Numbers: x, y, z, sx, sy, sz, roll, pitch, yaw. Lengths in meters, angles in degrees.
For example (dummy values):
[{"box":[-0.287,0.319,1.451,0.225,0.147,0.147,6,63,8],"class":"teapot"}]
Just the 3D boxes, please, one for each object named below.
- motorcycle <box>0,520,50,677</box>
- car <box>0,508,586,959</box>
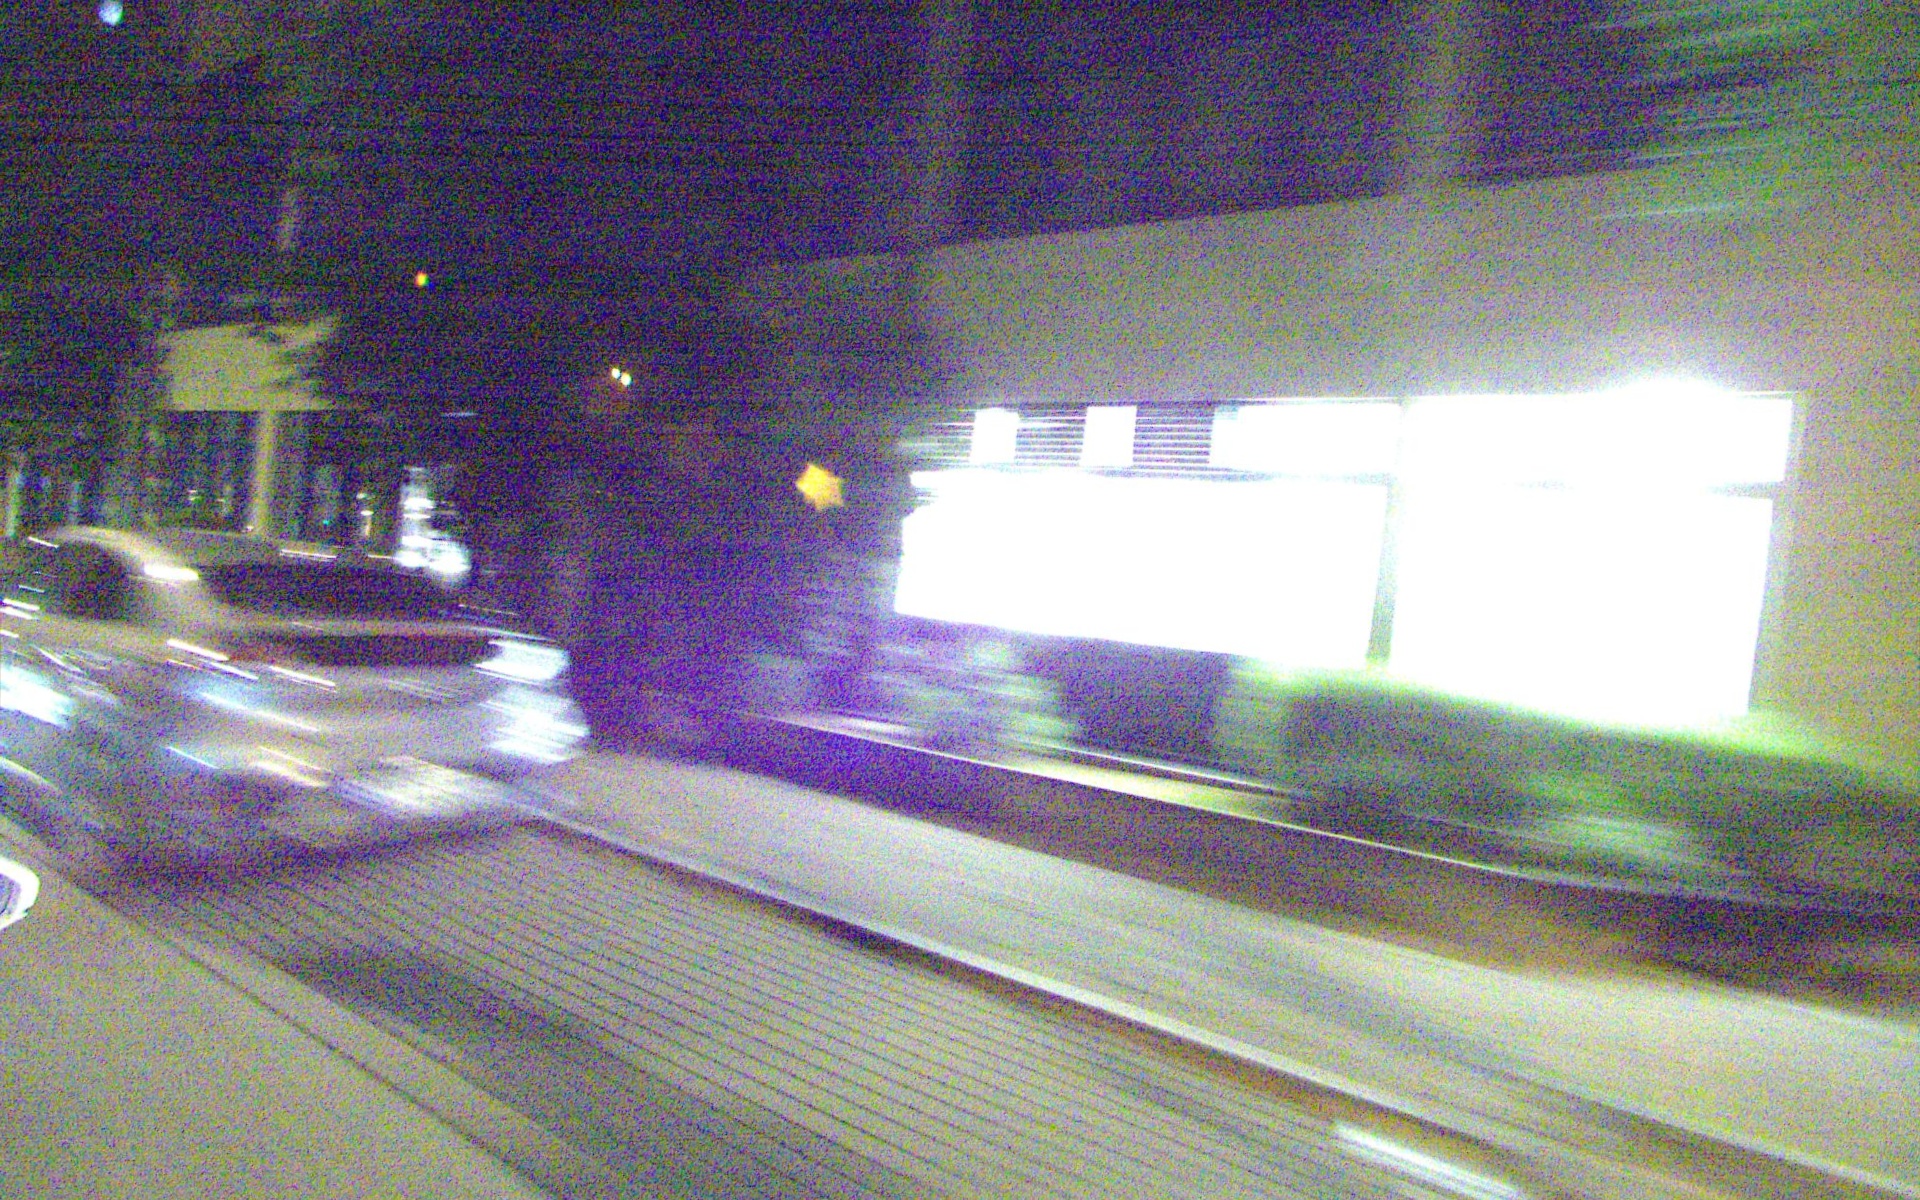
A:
[{"box":[-9.106,-0.122,8.428,2.192,1.300,0.929,7,2,7],"class":"motorcycle"},{"box":[-3.998,0.370,5.308,4.081,1.448,1.668,7,2,34],"class":"car"}]
